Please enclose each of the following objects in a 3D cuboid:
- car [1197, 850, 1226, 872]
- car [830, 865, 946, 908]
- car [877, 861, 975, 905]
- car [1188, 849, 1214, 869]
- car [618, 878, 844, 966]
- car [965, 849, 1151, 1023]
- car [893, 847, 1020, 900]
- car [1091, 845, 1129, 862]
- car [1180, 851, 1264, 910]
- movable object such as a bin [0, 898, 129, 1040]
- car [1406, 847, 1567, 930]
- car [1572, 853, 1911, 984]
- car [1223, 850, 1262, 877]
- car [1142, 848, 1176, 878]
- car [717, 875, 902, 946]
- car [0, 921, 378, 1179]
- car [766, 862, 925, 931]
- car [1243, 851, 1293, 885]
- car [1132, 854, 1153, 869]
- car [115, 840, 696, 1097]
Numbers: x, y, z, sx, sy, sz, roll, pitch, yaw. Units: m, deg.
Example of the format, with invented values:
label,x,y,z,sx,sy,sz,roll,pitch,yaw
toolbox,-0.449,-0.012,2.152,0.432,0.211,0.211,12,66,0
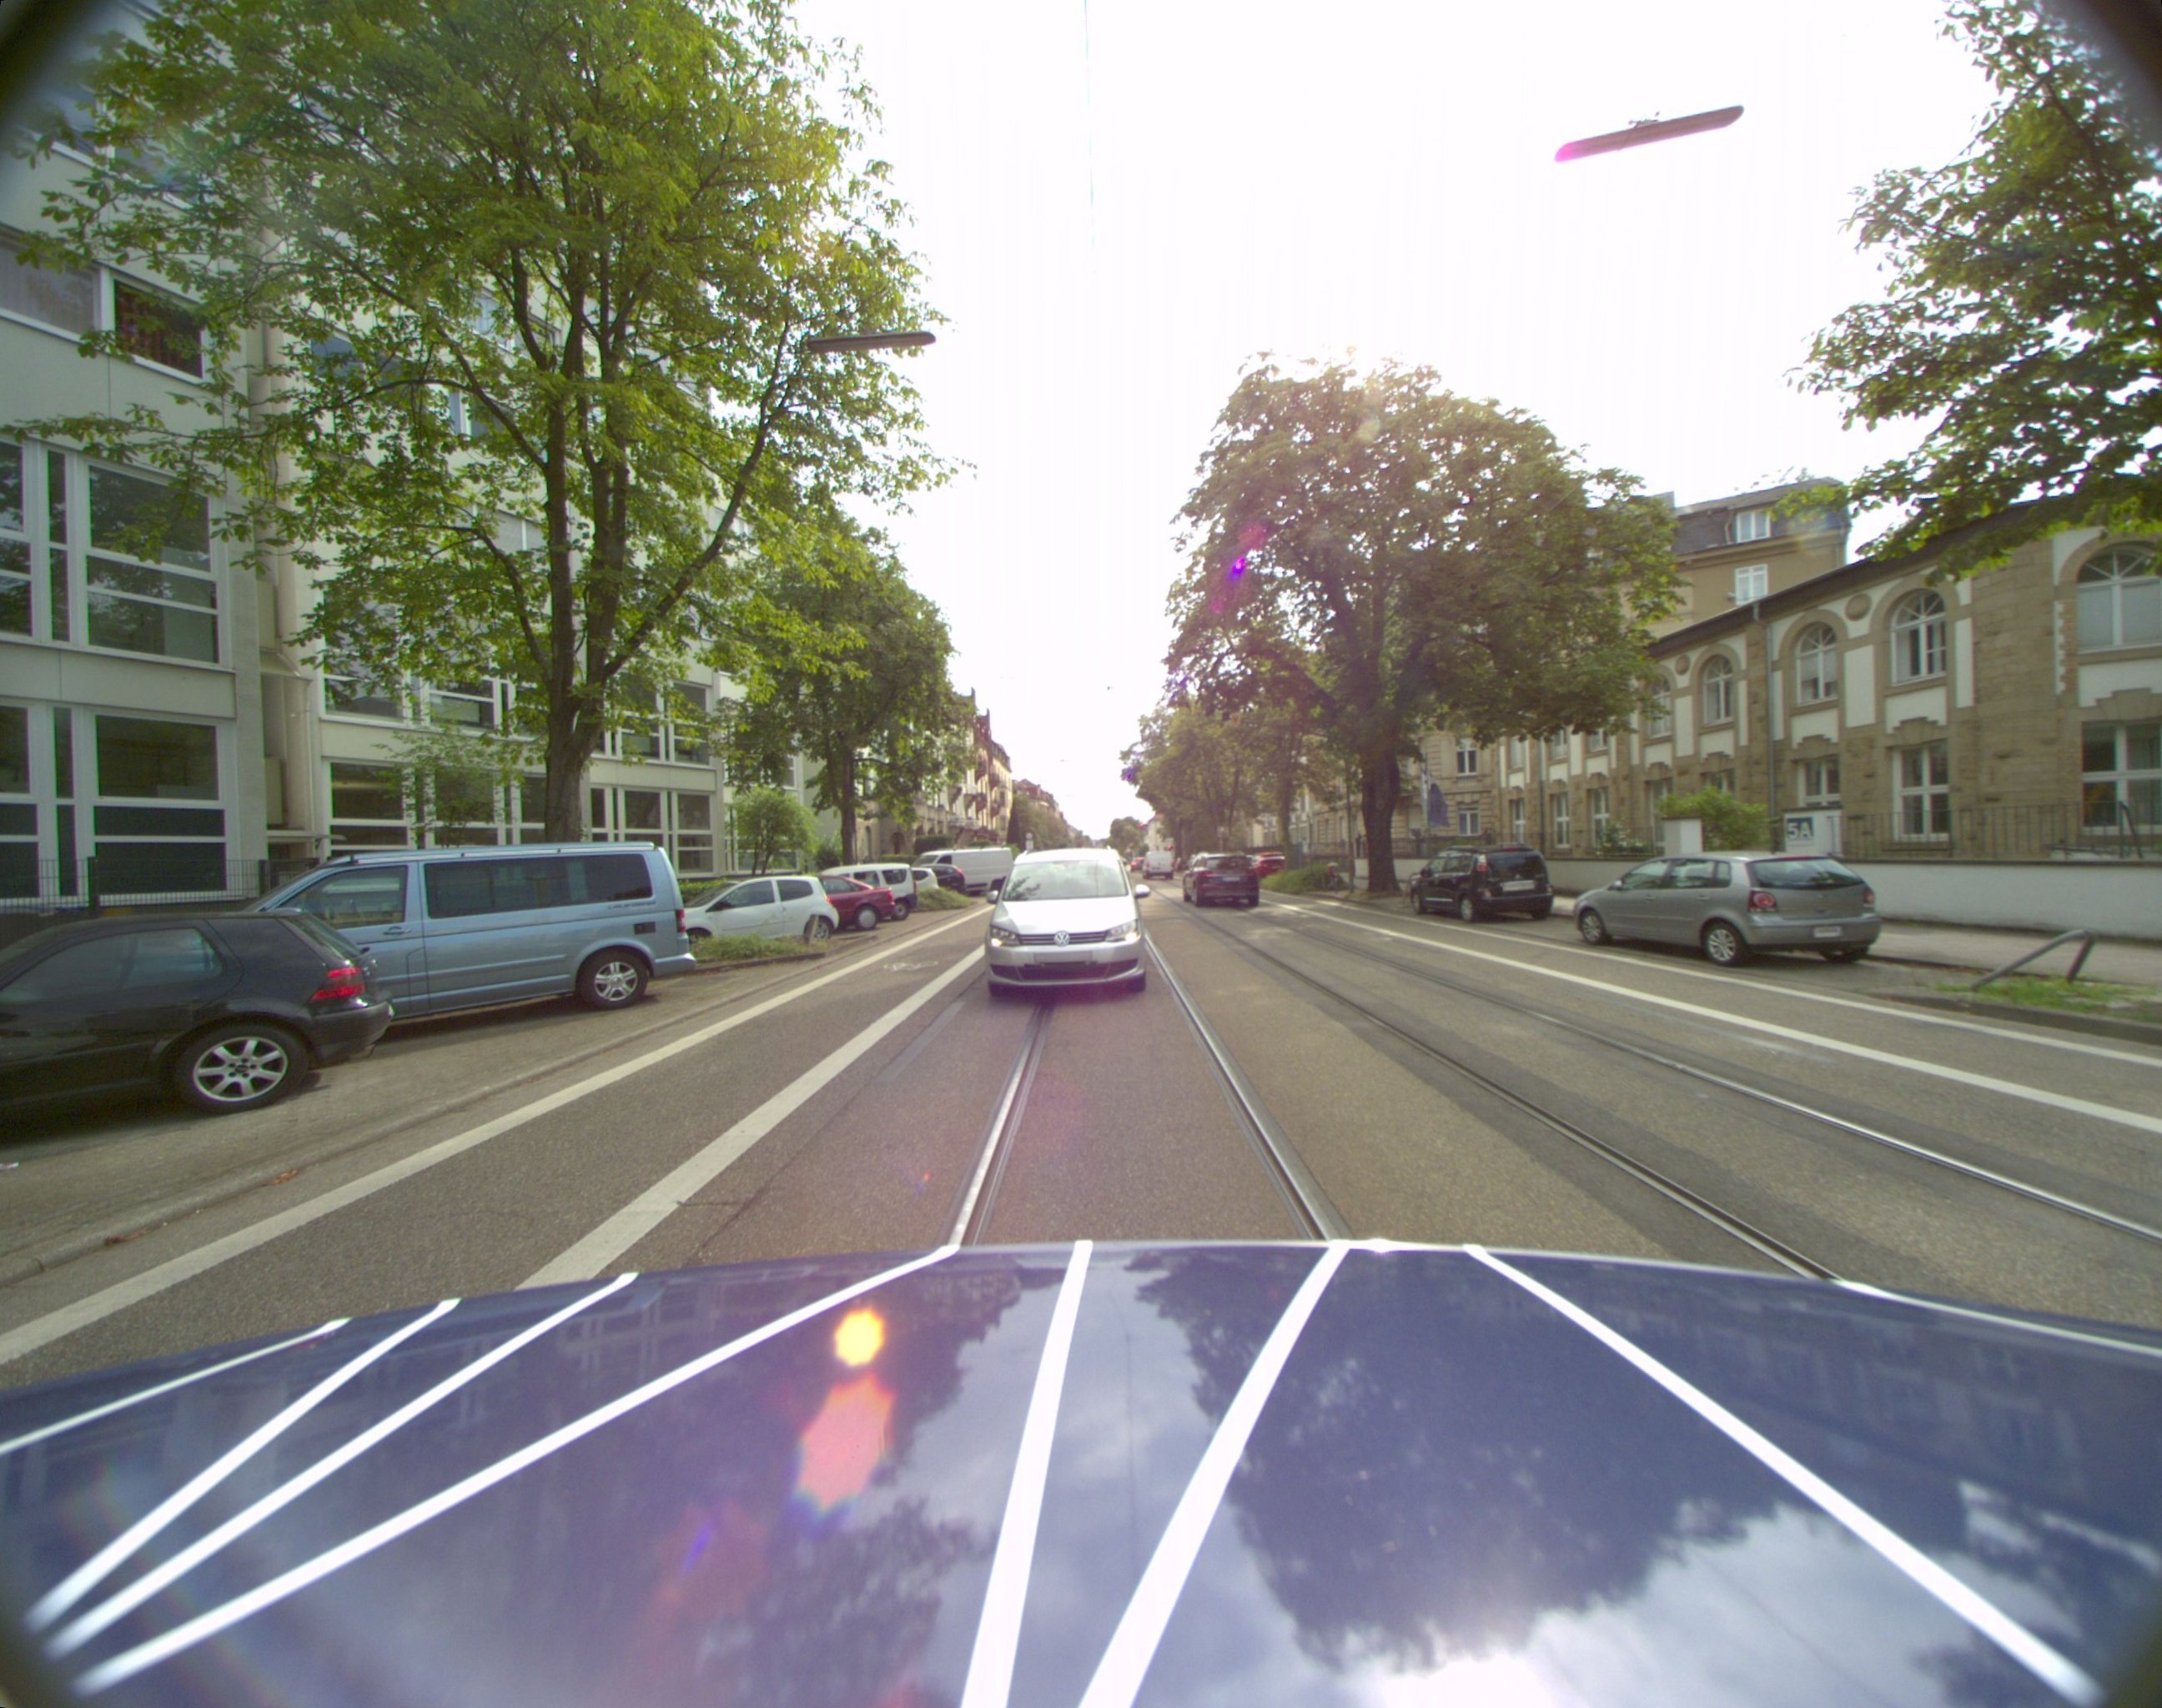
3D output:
label,x,y,z,sx,sy,sz,roll,pitch,yaw
car,10.137,0.521,59.242,1.659,1.624,3.906,-2,0,1
car,-6.978,1.144,27.675,3.652,1.322,1.763,-3,1,-44
car,-6.484,1.175,31.808,3.649,1.580,1.764,-2,1,-25
car,10.447,0.428,66.552,1.659,1.624,3.906,-2,0,1
car,-6.855,1.246,15.090,3.652,1.322,1.763,-3,1,-44
car,-0.202,0.825,9.963,1.816,1.691,4.617,-2,0,1
car,-5.727,0.828,35.487,5.449,2.163,2.142,-2,1,-40
car,4.732,-0.051,123.811,5.927,2.585,2.001,-2,0,6
car,4.323,0.760,23.890,1.852,1.603,4.334,-2,0,1
movable object such as a bin,-12.200,1.281,8.483,1.334,1.450,1.400,-2,0,5
car,8.978,0.692,17.208,1.659,1.624,3.725,-2,0,1
car,8.831,0.751,10.619,1.632,1.456,3.574,-2,0,1
car,10.303,0.591,48.701,1.659,1.592,3.906,-2,0,1
car,5.175,0.565,50.857,1.799,1.813,4.678,-2,0,1
car,-6.512,1.286,18.390,3.777,1.331,1.809,-2,1,-40
car,-7.410,1.322,5.005,3.980,1.379,1.810,-3,-1,-44
car,-6.549,1.115,21.307,3.777,1.609,1.809,-2,1,-40
car,9.750,0.695,39.942,1.659,1.624,3.906,-2,0,1
car,6.188,0.743,77.143,1.786,1.506,4.144,-2,0,1
car,-6.993,0.937,8.452,4.354,2.052,1.994,-2,0,-45
